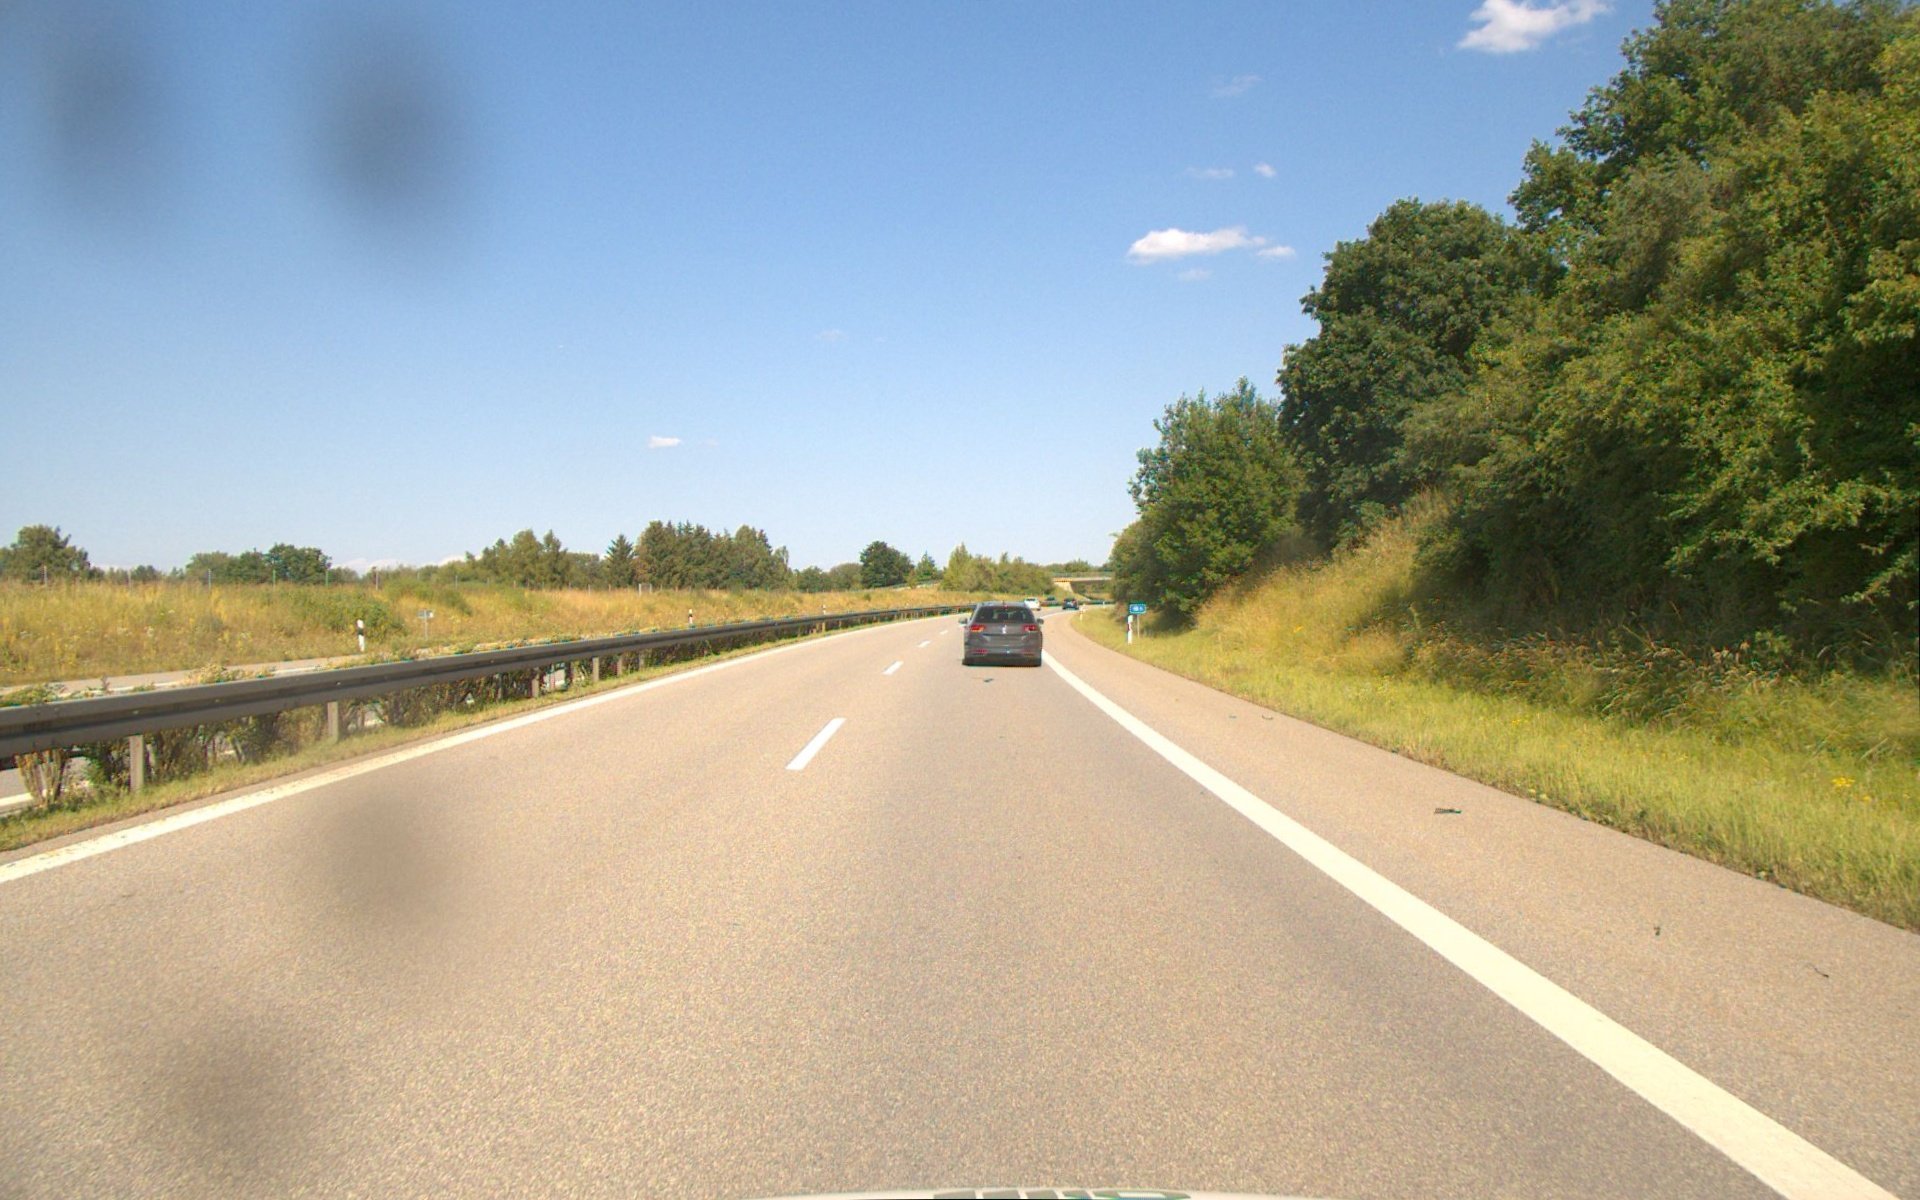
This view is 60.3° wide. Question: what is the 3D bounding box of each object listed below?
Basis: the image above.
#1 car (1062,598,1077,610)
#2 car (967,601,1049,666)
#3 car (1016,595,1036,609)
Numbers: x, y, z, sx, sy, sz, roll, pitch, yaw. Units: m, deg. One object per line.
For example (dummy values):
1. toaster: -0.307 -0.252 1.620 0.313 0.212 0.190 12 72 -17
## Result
1. car: 13.572 0.522 205.072 1.674 1.411 3.357 1 -1 7
2. car: 1.102 0.769 38.050 1.754 1.368 4.000 1 -1 2
3. car: 7.344 0.258 183.486 1.965 1.368 4.002 2 -1 5
